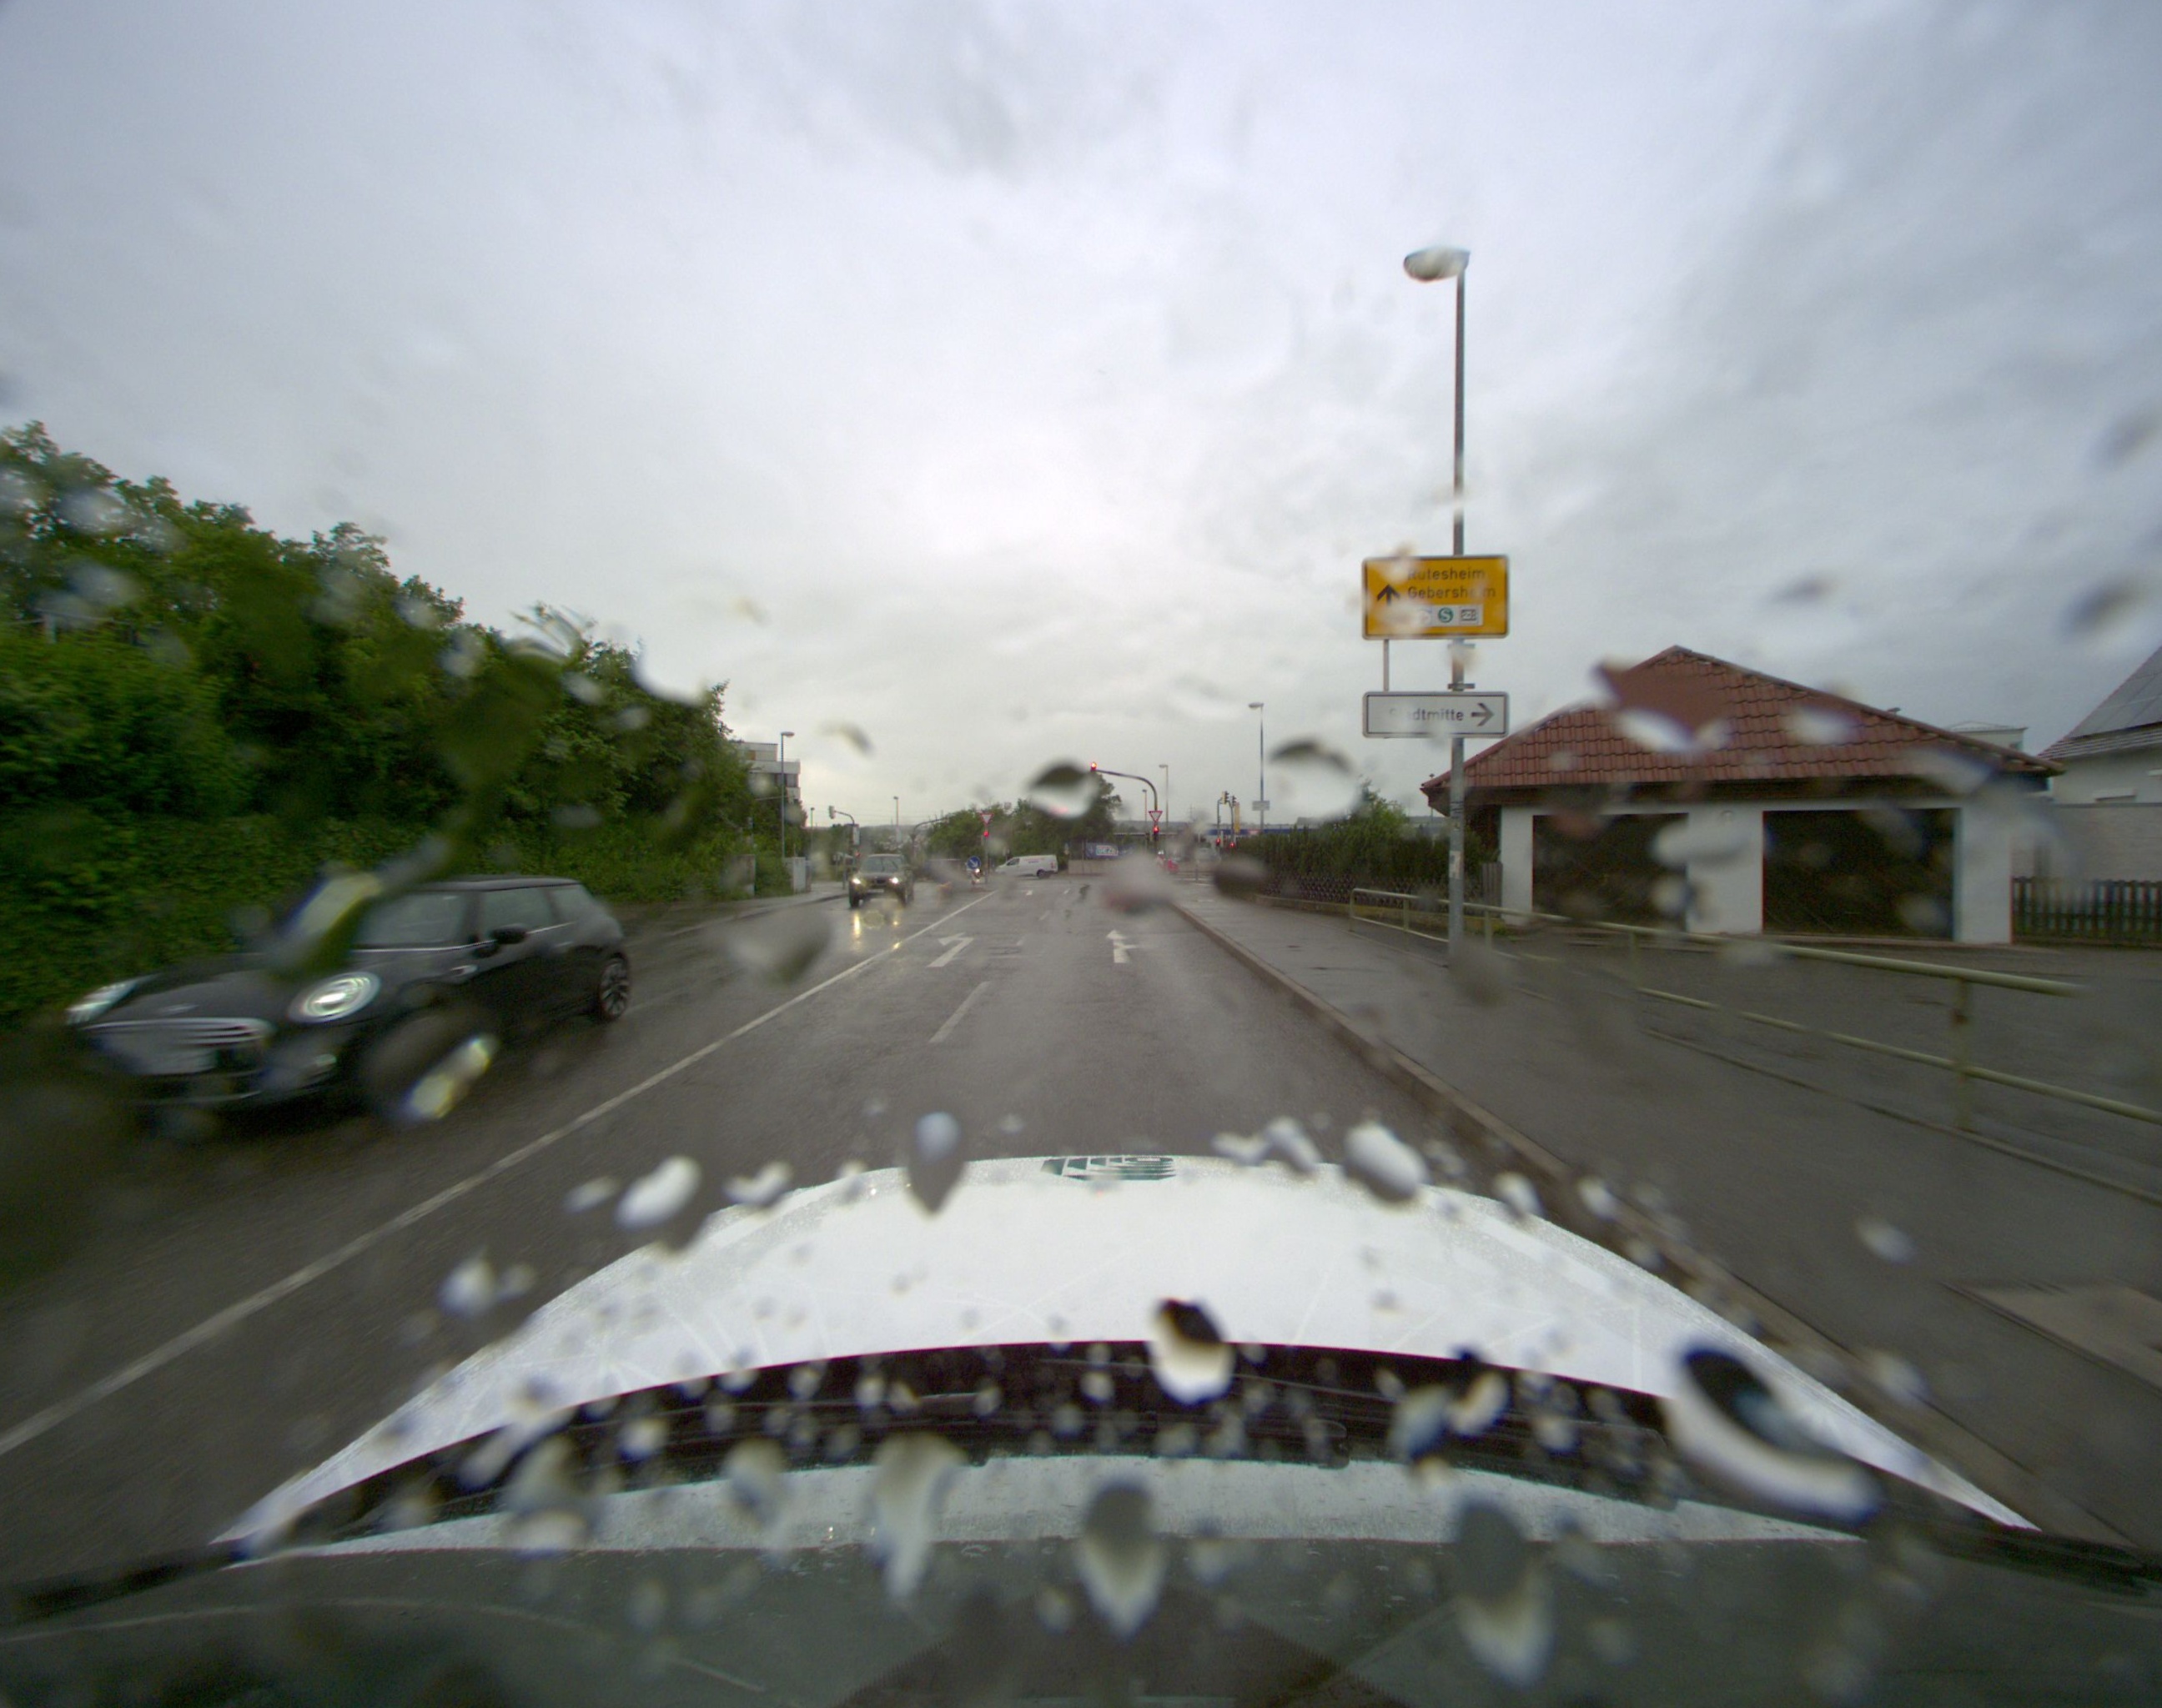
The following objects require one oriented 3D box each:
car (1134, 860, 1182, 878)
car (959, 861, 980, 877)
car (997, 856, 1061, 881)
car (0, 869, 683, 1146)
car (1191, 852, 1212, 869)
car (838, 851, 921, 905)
[{"bbox_3d":[6.593,1.264,69.923,3.758,1.449,1.630,1,0,31],"label":"car"},{"bbox_3d":[-11.983,1.576,87.200,1.995,1.618,3.983,0,0,-12],"label":"car"},{"bbox_3d":[-4.304,1.177,67.633,4.962,2.014,2.007,-1,-1,12],"label":"car"},{"bbox_3d":[-5.295,0.872,6.744,1.990,1.404,4.616,-1,0,-4],"label":"car"},{"bbox_3d":[14.328,0.752,96.629,1.979,2.014,4.015,-1,-1,14],"label":"car"},{"bbox_3d":[-6.669,0.766,27.466,1.990,1.667,4.409,0,-1,-4],"label":"car"}]
